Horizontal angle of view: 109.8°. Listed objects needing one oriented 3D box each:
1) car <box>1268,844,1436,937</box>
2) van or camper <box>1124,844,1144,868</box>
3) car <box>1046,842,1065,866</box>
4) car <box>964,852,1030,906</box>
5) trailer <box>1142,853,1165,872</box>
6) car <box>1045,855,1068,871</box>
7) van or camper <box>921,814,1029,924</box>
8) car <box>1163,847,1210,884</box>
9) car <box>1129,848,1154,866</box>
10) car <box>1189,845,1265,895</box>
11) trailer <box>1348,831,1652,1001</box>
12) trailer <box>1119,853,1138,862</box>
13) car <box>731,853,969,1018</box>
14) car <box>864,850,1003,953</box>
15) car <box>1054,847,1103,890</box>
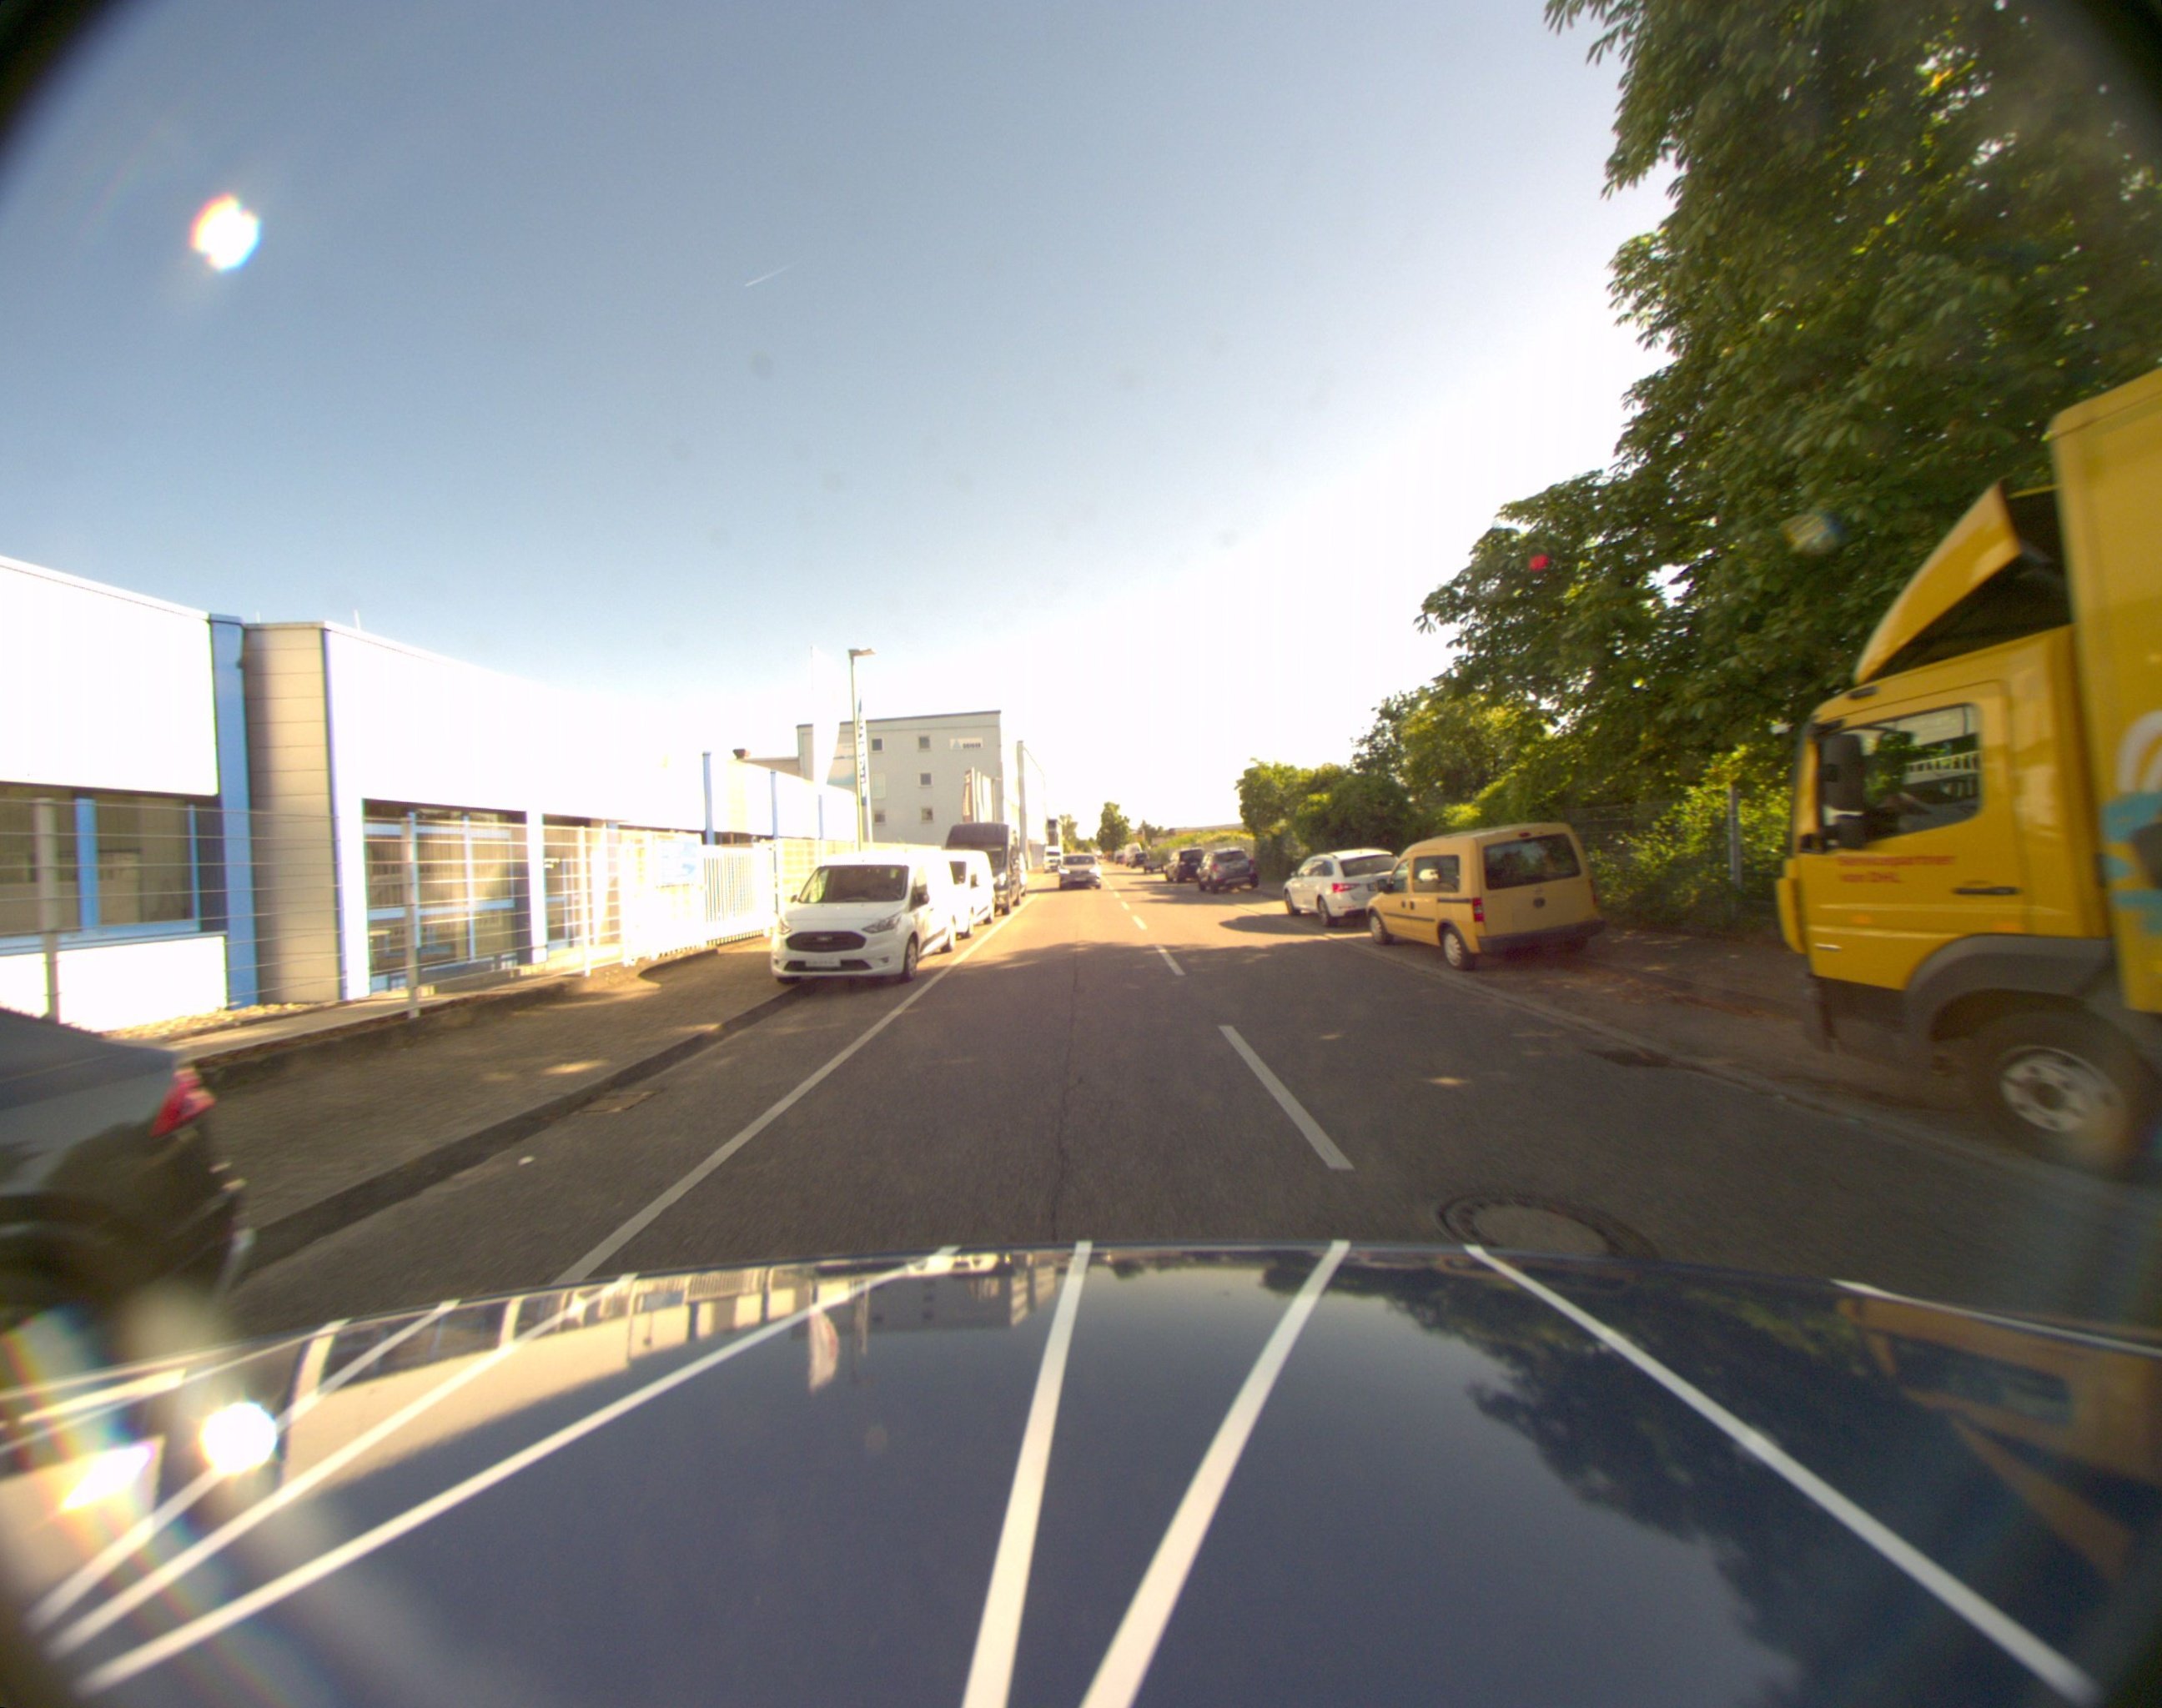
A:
[{"bbox_3d":[5.769,0.696,16.933,1.912,1.584,5.025,-6,0,1],"label":"car"},{"bbox_3d":[6.472,0.279,93.260,1.971,2.669,5.949,-7,0,3],"label":"van or camper"},{"bbox_3d":[-2.832,0.063,85.255,1.999,2.582,6.051,0,-1,0],"label":"car"},{"bbox_3d":[-3.106,0.878,29.248,1.890,1.787,5.103,-3,0,0],"label":"car"},{"bbox_3d":[5.624,0.655,59.186,1.480,1.346,3.078,-3,0,1],"label":"trailer"},{"bbox_3d":[-2.347,0.839,73.592,1.899,1.397,5.124,-3,0,0],"label":"car"},{"bbox_3d":[-2.966,0.375,22.799,2.146,2.743,6.161,-3,0,1],"label":"van or camper"},{"bbox_3d":[5.565,0.573,40.495,1.796,1.720,4.802,-5,0,1],"label":"car"},{"bbox_3d":[6.317,0.306,80.405,2.035,1.684,5.106,-6,0,-1],"label":"car"},{"bbox_3d":[5.719,0.612,30.308,1.913,1.653,4.463,-6,0,-2],"label":"car"},{"bbox_3d":[5.629,0.715,11.008,1.998,1.930,4.415,-1,0,1],"label":"trailer"},{"bbox_3d":[7.030,0.587,112.301,2.382,1.073,6.246,-5,-1,0],"label":"trailer"},{"bbox_3d":[-3.116,0.959,11.570,1.860,1.820,5.168,-3,0,1],"label":"car"},{"bbox_3d":[-3.028,0.879,16.812,1.890,1.836,5.103,-3,0,1],"label":"car"},{"bbox_3d":[-0.082,0.623,35.204,1.998,1.750,5.015,-2,0,1],"label":"car"}]
